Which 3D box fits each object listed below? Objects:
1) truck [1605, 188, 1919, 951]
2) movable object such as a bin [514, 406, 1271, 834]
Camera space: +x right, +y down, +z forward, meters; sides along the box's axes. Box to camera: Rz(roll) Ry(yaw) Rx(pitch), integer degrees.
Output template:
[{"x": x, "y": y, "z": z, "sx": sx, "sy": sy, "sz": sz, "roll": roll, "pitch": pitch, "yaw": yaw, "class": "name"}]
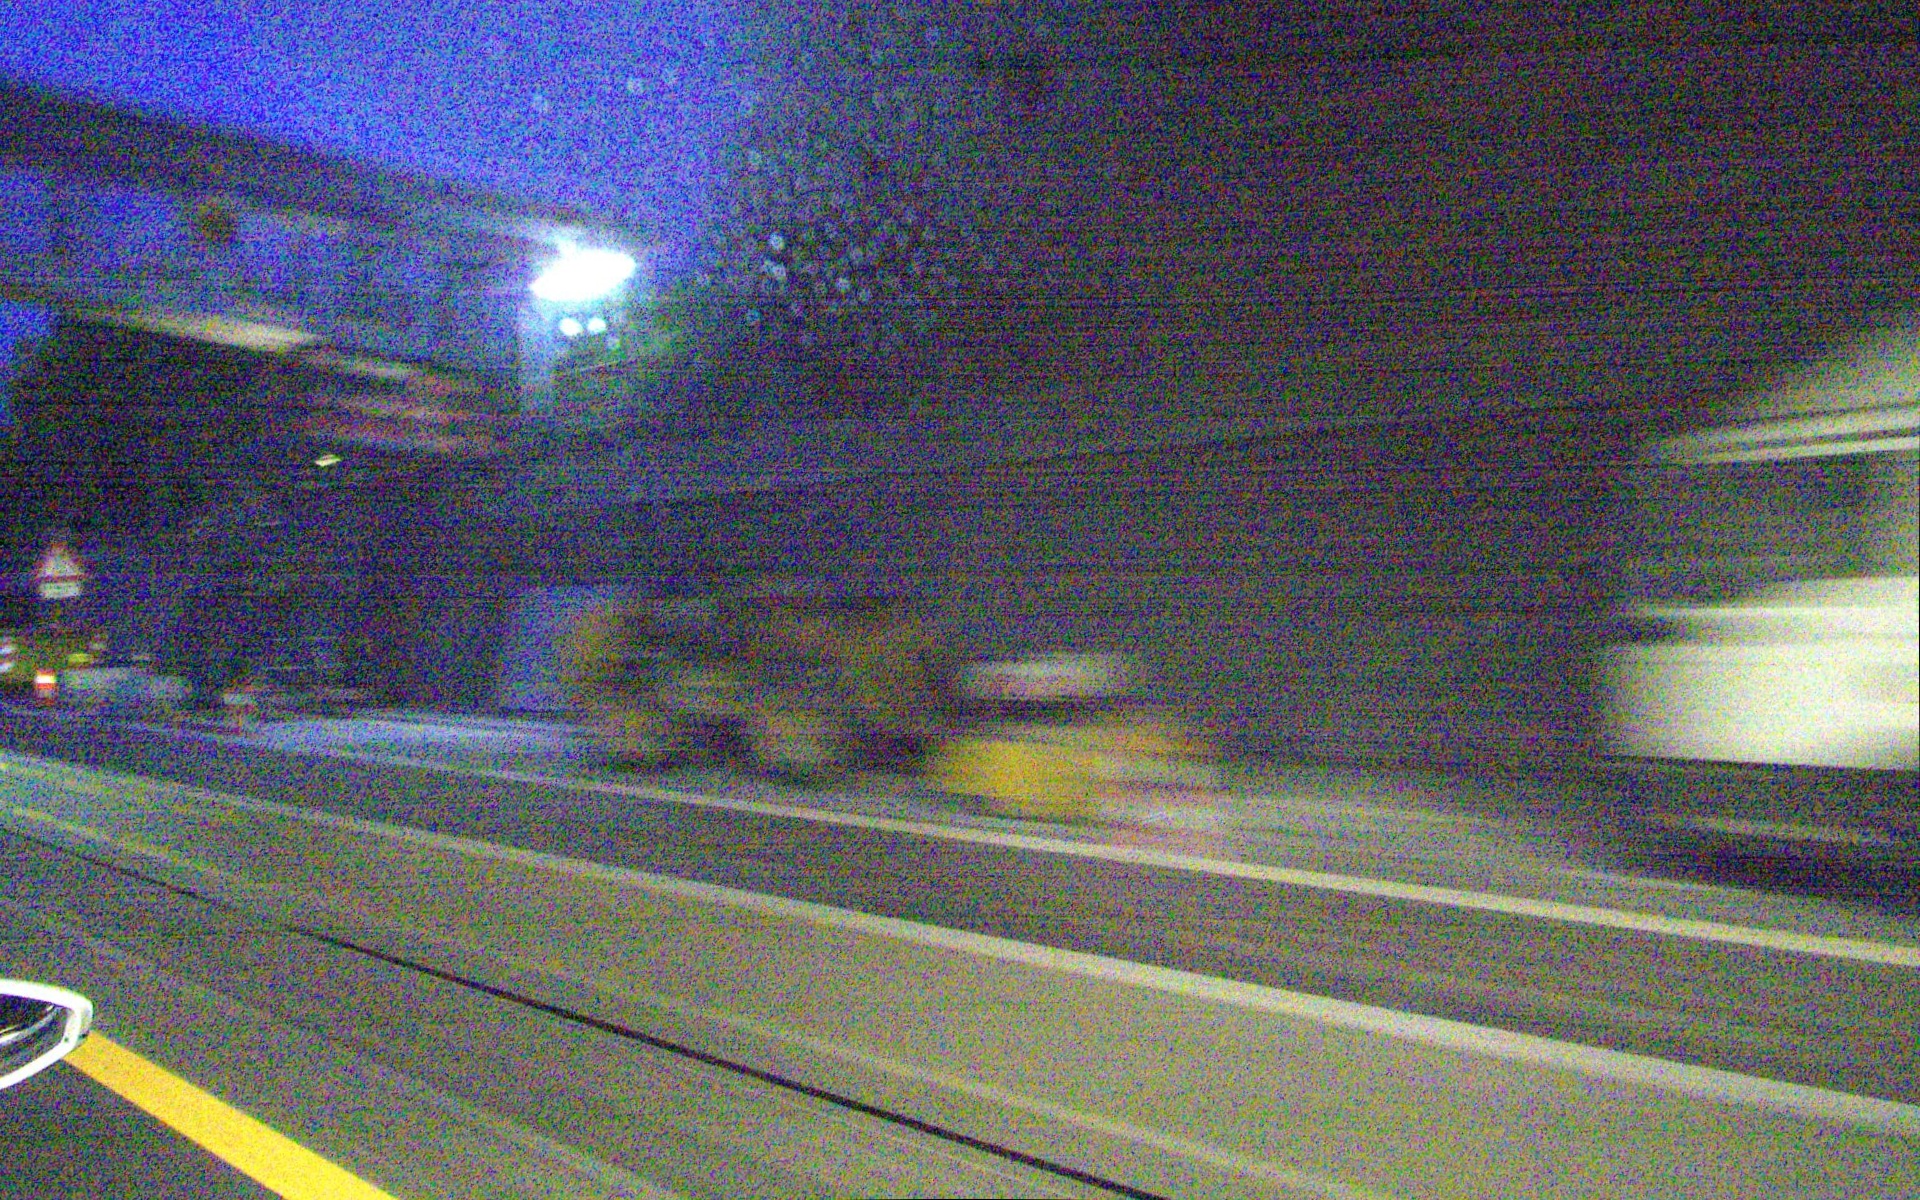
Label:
[{"x": 7.525, "y": -0.159, "z": 3.964, "sx": 8.232, "sy": 3.327, "sz": 2.814, "roll": -1, "pitch": -2, "yaw": 32, "class": "truck"}, {"x": -0.905, "y": 0.244, "z": 9.865, "sx": 7.094, "sy": 2.863, "sz": 2.965, "roll": -1, "pitch": -2, "yaw": 32, "class": "movable object such as a bin"}]
